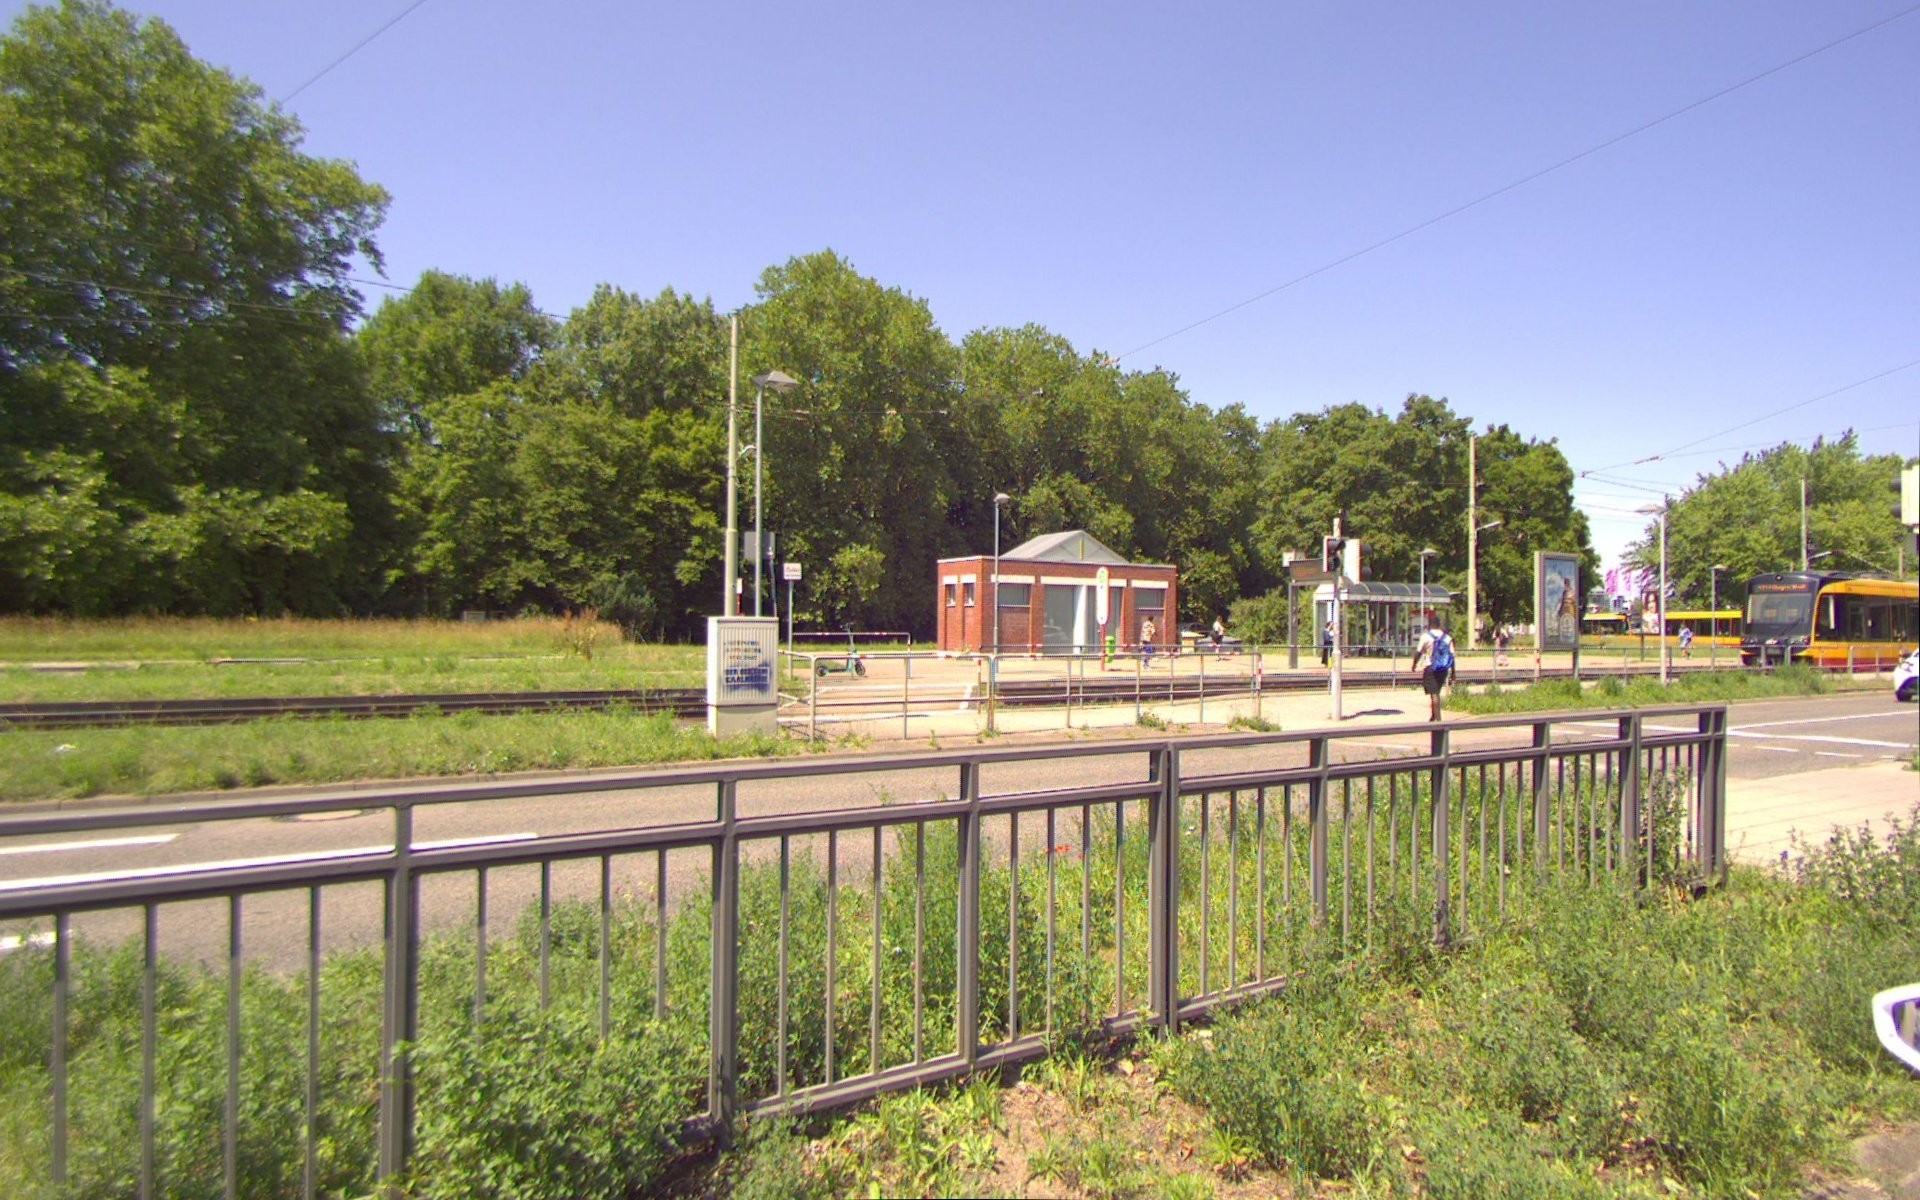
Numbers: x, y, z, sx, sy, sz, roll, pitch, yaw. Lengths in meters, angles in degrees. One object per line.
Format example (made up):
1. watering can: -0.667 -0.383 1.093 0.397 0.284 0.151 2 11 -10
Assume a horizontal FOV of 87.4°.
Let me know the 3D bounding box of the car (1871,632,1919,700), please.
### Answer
1. car: 23.355 1.539 23.617 3.747 1.514 1.836 1 -1 -30

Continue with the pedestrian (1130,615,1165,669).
1. pedestrian: 5.750 1.273 30.753 0.799 1.611 0.668 1 -1 -30

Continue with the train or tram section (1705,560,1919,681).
1. train or tram section: 38.948 0.971 40.571 29.680 3.799 2.944 1 -1 -31

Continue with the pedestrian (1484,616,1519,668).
1. pedestrian: 20.038 1.548 37.157 0.832 1.802 0.714 -1 5 -30

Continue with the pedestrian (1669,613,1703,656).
1. pedestrian: 34.550 1.638 47.810 1.009 2.040 0.976 1 -1 -30

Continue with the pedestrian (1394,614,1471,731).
1. pedestrian: 7.592 1.134 16.156 0.711 1.801 0.836 -1 -1 -30

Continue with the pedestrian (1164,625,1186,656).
1. pedestrian: 8.071 1.519 37.769 0.560 1.139 0.639 1 -1 -15

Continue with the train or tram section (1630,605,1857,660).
1. train or tram section: 64.090 2.566 83.498 3.165 3.984 18.488 1 -1 -5

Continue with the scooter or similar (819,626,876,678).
1. scooter or similar: -2.633 1.201 23.455 1.217 1.183 0.508 1 -1 -30

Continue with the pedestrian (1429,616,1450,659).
1. pedestrian: 20.602 1.607 43.192 0.707 1.824 0.845 0 -1 17

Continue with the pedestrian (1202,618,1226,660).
1. pedestrian: 9.028 1.383 35.658 0.573 1.476 0.639 1 -1 -15

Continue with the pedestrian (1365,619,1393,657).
1. pedestrian: 17.250 1.572 41.377 0.710 1.531 0.841 1 -1 -19

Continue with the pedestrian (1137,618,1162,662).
1. pedestrian: 6.610 1.385 35.075 0.563 1.499 0.636 1 -1 -30

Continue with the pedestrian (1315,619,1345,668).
1. pedestrian: 11.929 1.396 32.383 0.688 1.575 0.629 1 -1 -42
